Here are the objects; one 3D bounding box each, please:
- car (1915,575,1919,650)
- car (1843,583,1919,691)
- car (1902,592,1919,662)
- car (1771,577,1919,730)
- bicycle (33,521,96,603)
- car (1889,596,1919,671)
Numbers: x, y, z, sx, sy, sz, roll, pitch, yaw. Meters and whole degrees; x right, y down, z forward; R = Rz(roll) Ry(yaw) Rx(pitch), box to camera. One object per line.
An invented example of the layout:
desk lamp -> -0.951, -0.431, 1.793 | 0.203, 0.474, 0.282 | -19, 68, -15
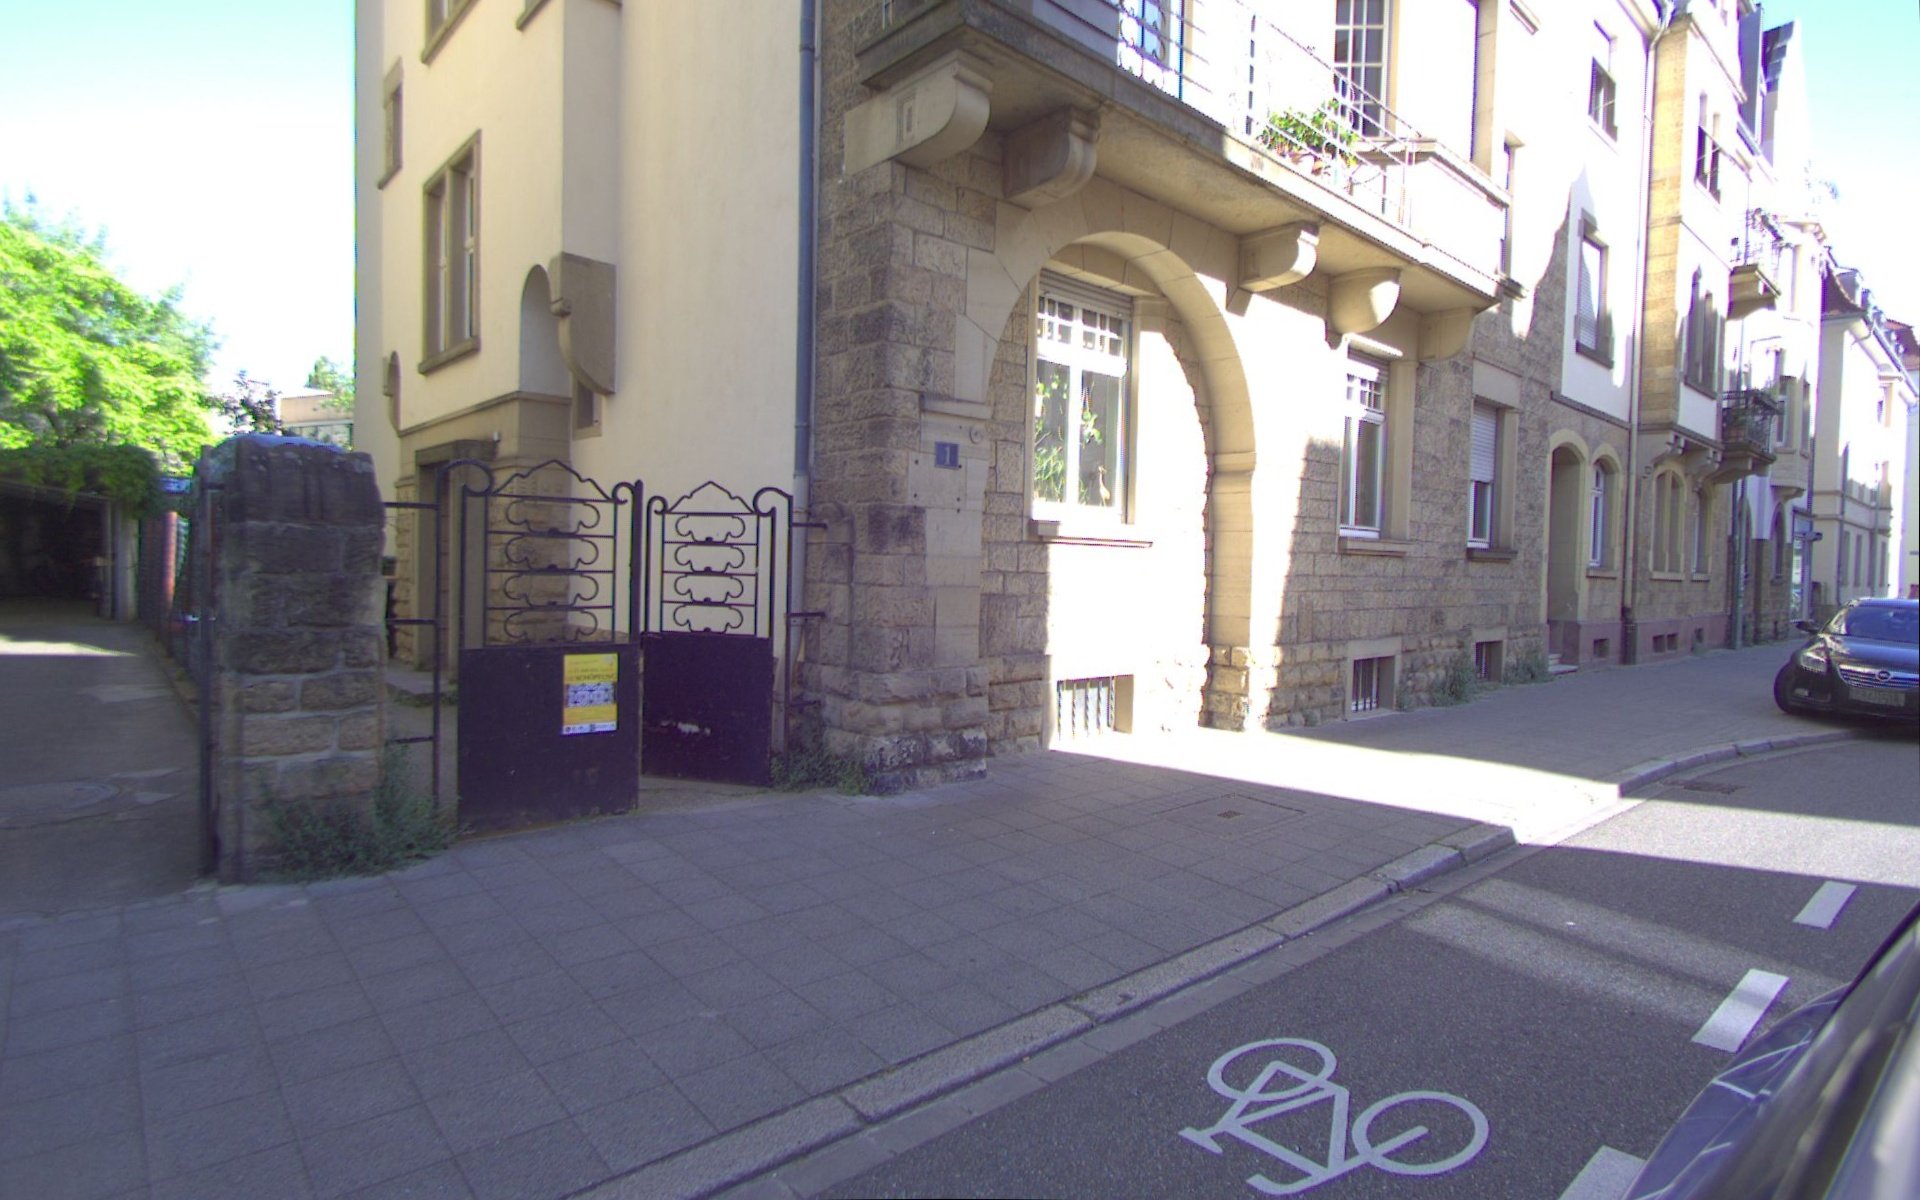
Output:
car -> 26.231, 0.345, 26.051 | 4.247, 1.860, 2.004 | -1, 4, -42
car -> 15.529, 0.573, 15.868 | 4.247, 1.527, 2.004 | 0, 3, -42
car -> 22.169, 0.590, 22.194 | 4.247, 1.440, 1.823 | -1, 4, -42
car -> 11.508, 0.564, 12.191 | 4.043, 1.526, 2.023 | -1, 5, -42
bicycle -> -18.304, -0.811, 20.726 | 0.903, 1.530, 2.672 | 0, 4, -41
car -> 18.792, 0.626, 18.972 | 3.667, 1.295, 1.659 | -1, 4, -42
